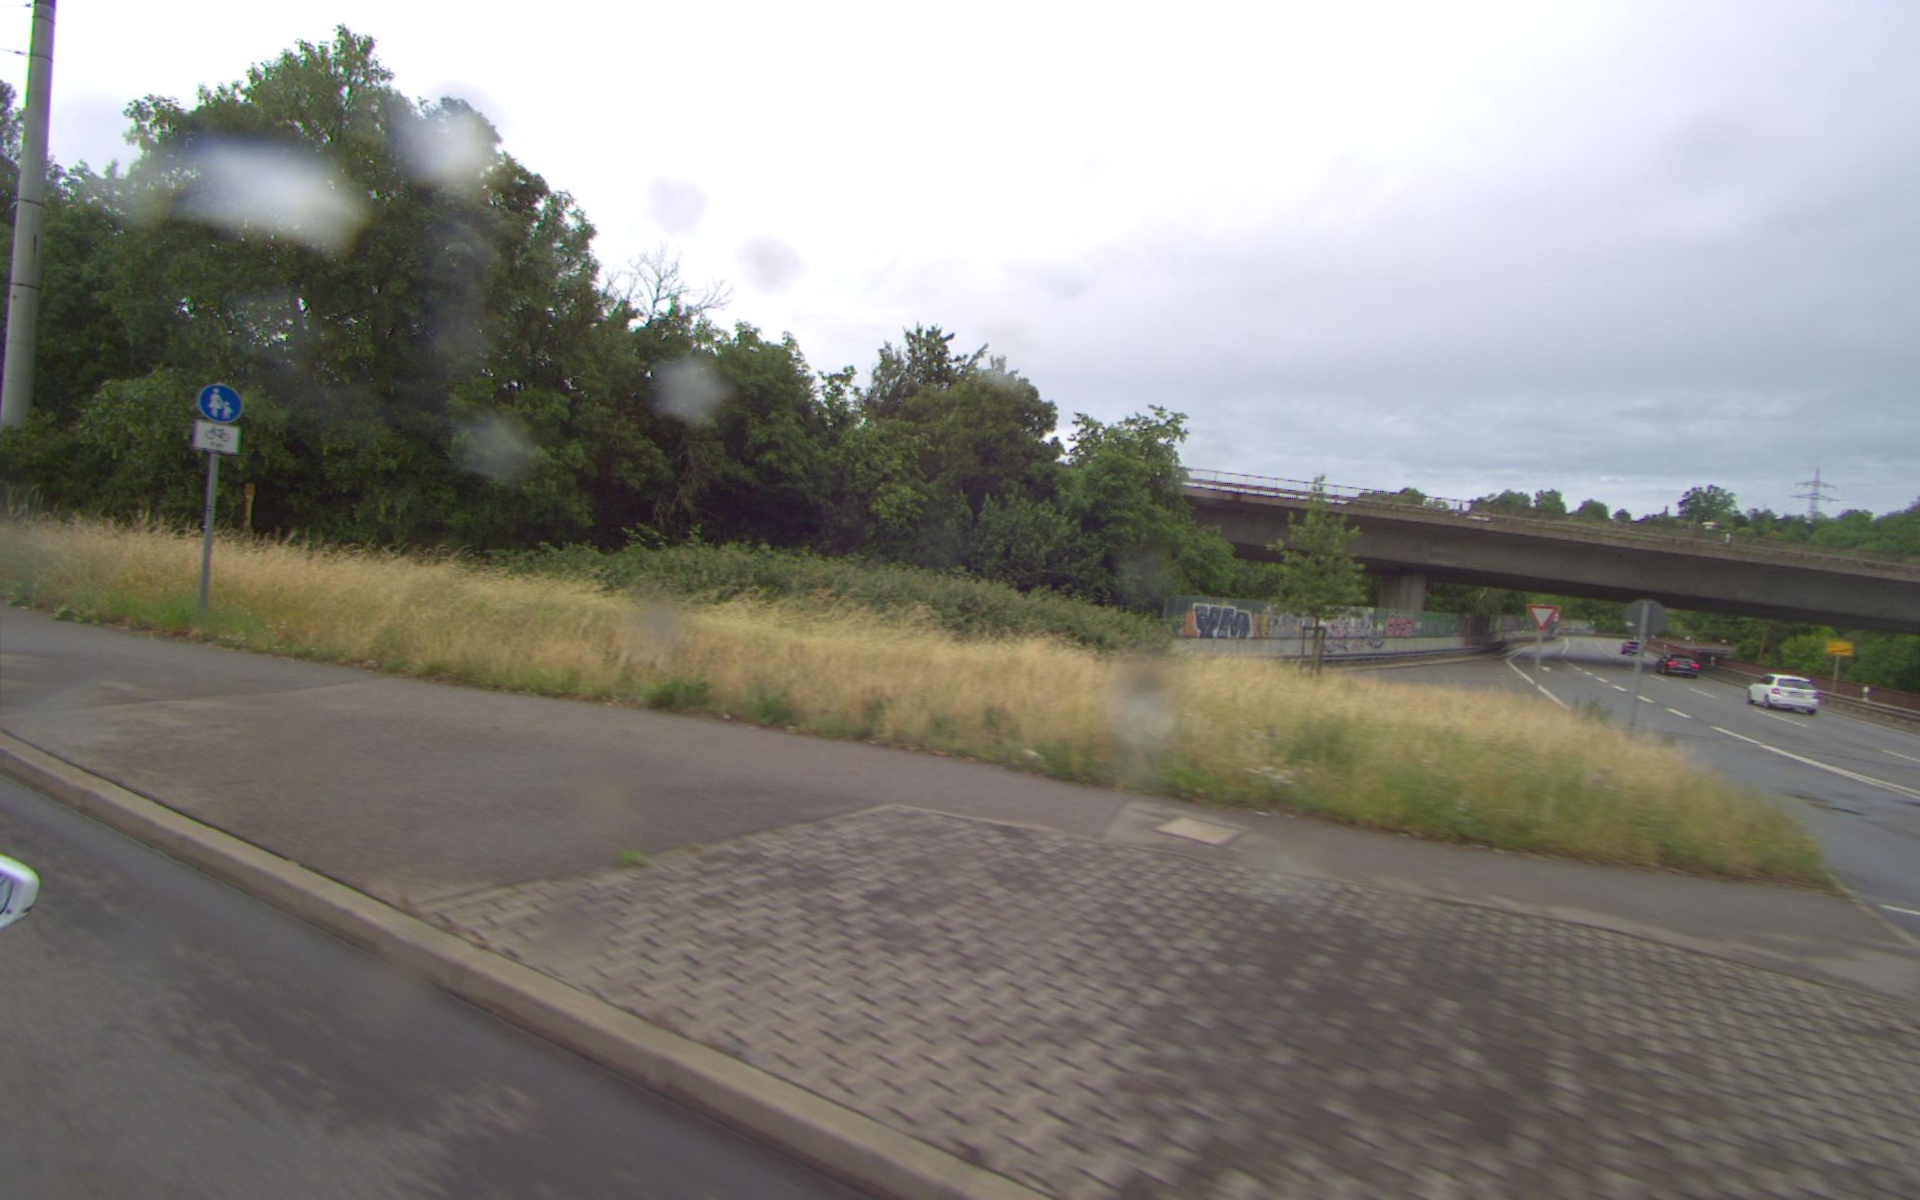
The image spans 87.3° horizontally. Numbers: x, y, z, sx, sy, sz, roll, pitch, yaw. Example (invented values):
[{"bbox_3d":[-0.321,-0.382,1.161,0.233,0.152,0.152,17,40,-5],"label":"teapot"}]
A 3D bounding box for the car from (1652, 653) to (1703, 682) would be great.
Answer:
[{"bbox_3d":[45.690,4.286,64.129,1.869,1.504,3.995,8,1,27],"label":"car"}]

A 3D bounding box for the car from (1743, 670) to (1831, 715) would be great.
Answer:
[{"bbox_3d":[34.810,3.854,42.471,1.869,1.504,3.995,8,1,27],"label":"car"}]

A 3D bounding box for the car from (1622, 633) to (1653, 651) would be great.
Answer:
[{"bbox_3d":[67.017,4.194,99.569,1.869,1.504,3.995,8,1,27],"label":"car"}]
